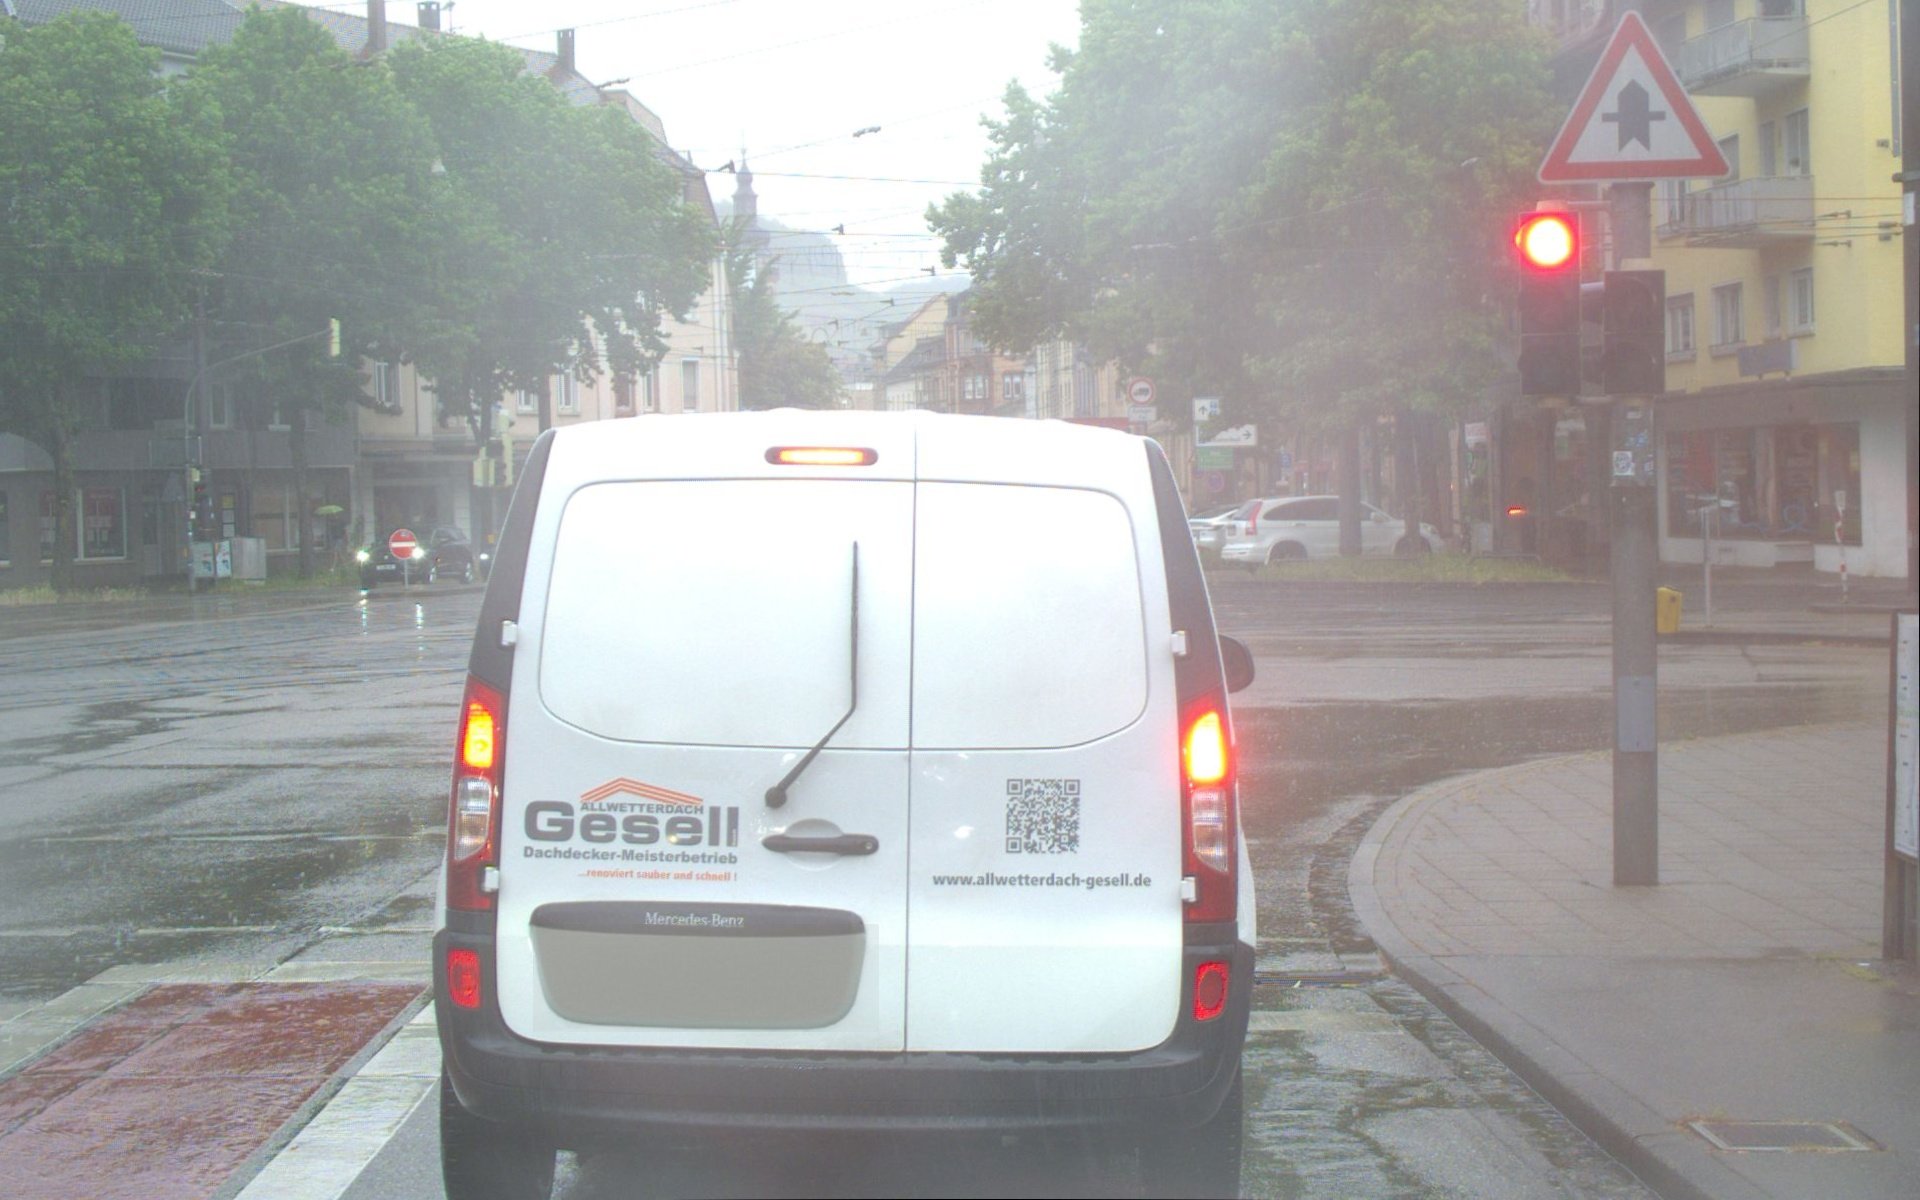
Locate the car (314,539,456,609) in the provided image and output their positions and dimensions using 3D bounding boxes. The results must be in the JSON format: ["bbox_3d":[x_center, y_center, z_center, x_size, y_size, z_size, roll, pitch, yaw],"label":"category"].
[{"bbox_3d":[-14.420,-0.671,86.423,1.952,1.602,3.997,0,3,16],"label":"car"}]

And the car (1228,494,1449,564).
[{"bbox_3d":[7.582,-1.437,69.072,4.165,1.334,1.521,-1,2,-7],"label":"car"}]

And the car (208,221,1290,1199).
[{"bbox_3d":[-0.437,0.235,9.207,2.100,2.005,4.963,0,1,-1],"label":"car"}]

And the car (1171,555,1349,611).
[{"bbox_3d":[6.196,-0.355,71.167,3.441,1.126,1.472,0,1,-8],"label":"car"}]

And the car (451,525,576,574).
[{"bbox_3d":[-12.285,-1.413,94.755,1.952,1.235,3.997,0,3,16],"label":"car"}]

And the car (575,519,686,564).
[{"bbox_3d":[-9.871,-1.765,103.292,1.952,1.235,3.997,0,3,16],"label":"car"}]

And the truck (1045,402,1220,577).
[{"bbox_3d":[5.610,-3.361,107.938,3.471,5.070,15.300,0,1,11],"label":"truck"}]
